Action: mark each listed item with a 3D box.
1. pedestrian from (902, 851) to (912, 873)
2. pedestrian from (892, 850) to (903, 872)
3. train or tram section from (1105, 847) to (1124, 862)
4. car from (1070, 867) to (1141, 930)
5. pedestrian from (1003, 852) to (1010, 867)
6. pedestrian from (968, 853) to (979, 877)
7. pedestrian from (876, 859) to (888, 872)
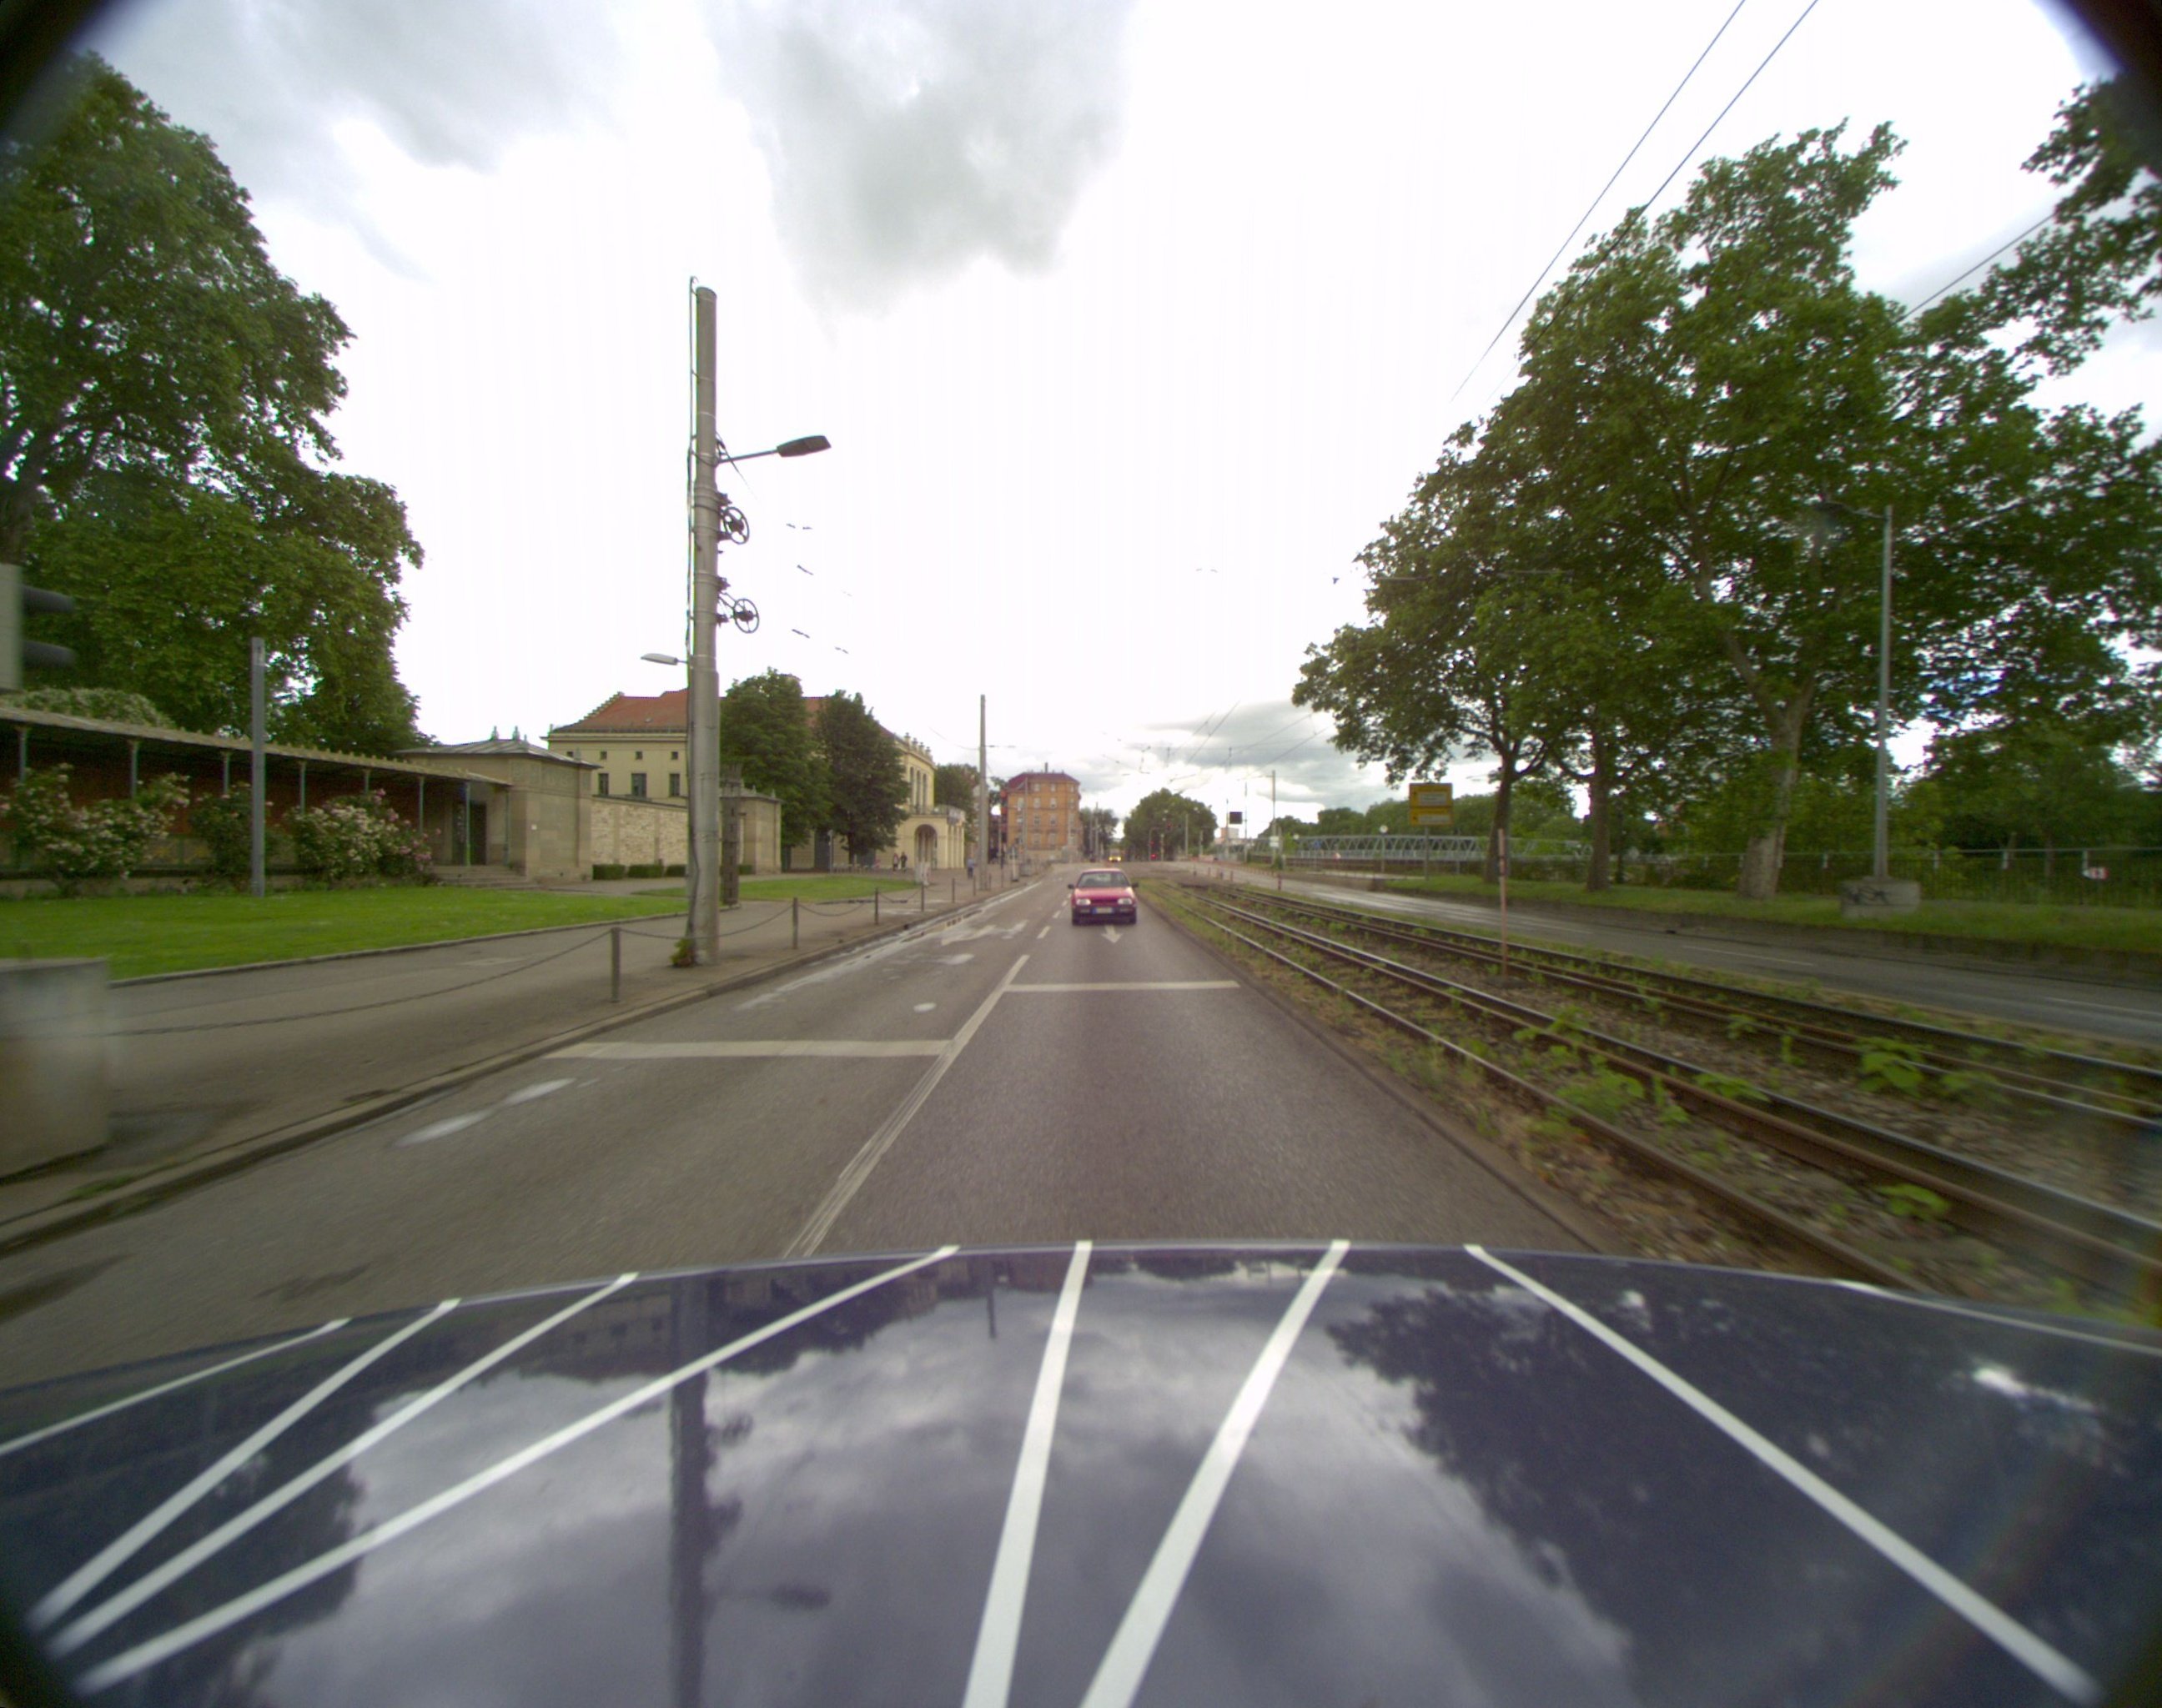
[{"bbox_3d":[-13.795,0.648,60.377,0.598,1.689,0.790,0,0,1],"label":"pedestrian"},{"bbox_3d":[-14.592,0.547,60.404,0.596,1.782,0.808,0,0,1],"label":"pedestrian"},{"bbox_3d":[7.817,-0.023,181.090,3.739,3.346,17.554,1,1,0],"label":"train or tram section"},{"bbox_3d":[0.624,1.133,20.656,1.681,1.433,4.120,-2,0,1],"label":"car"},{"bbox_3d":[-8.507,0.642,86.451,0.672,1.757,0.937,0,0,1],"label":"pedestrian"},{"bbox_3d":[-8.091,0.835,57.399,0.672,1.757,0.937,0,0,1],"label":"pedestrian"},{"bbox_3d":[-15.884,0.940,60.683,0.760,0.995,0.595,0,0,-34],"label":"pedestrian"}]
